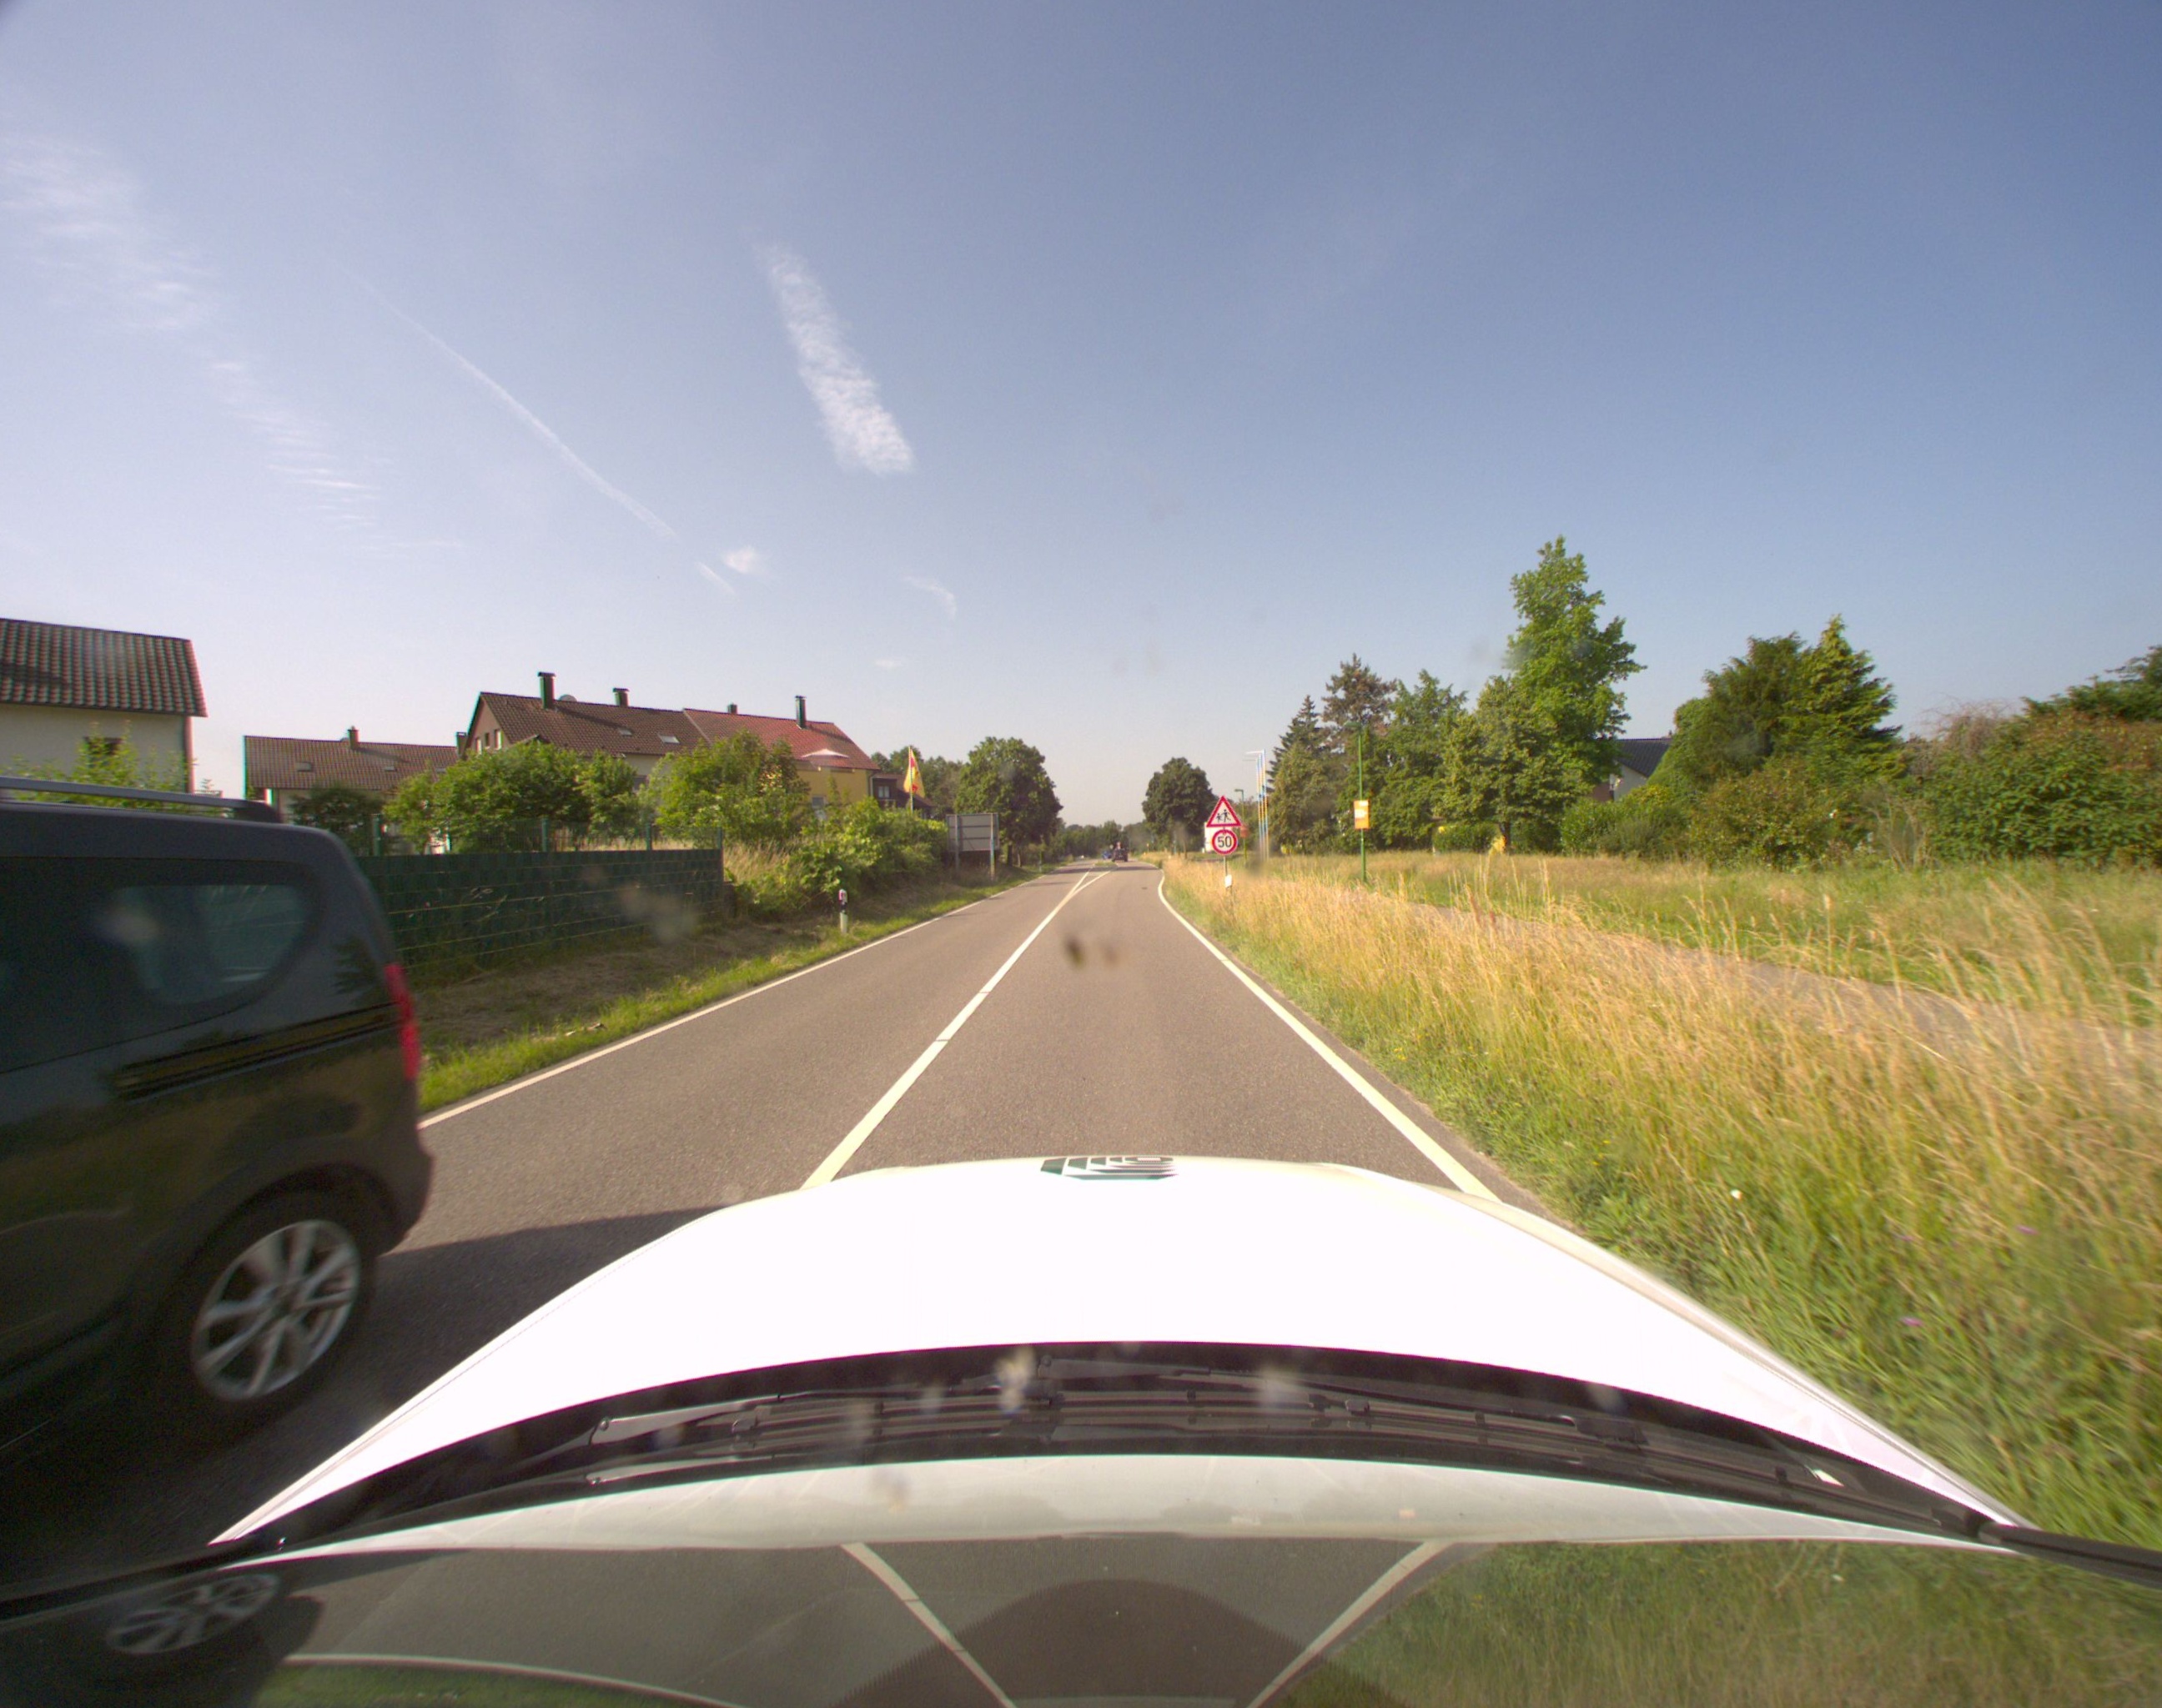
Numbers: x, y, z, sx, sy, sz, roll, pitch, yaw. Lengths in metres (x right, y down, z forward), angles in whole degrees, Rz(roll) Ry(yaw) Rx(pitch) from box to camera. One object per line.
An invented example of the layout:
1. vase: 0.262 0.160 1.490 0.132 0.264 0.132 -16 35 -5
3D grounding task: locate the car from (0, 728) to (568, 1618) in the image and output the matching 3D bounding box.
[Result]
1. car: -3.221 0.705 1.280 1.932 1.817 4.243 -4 0 2

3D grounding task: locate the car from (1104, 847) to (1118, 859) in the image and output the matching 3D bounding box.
1. car: 4.692 -0.204 127.834 1.999 1.771 3.997 -2 1 -2

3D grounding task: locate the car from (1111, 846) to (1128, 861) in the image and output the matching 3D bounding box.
1. car: 4.901 -0.099 104.789 1.919 1.771 3.999 -2 1 0
